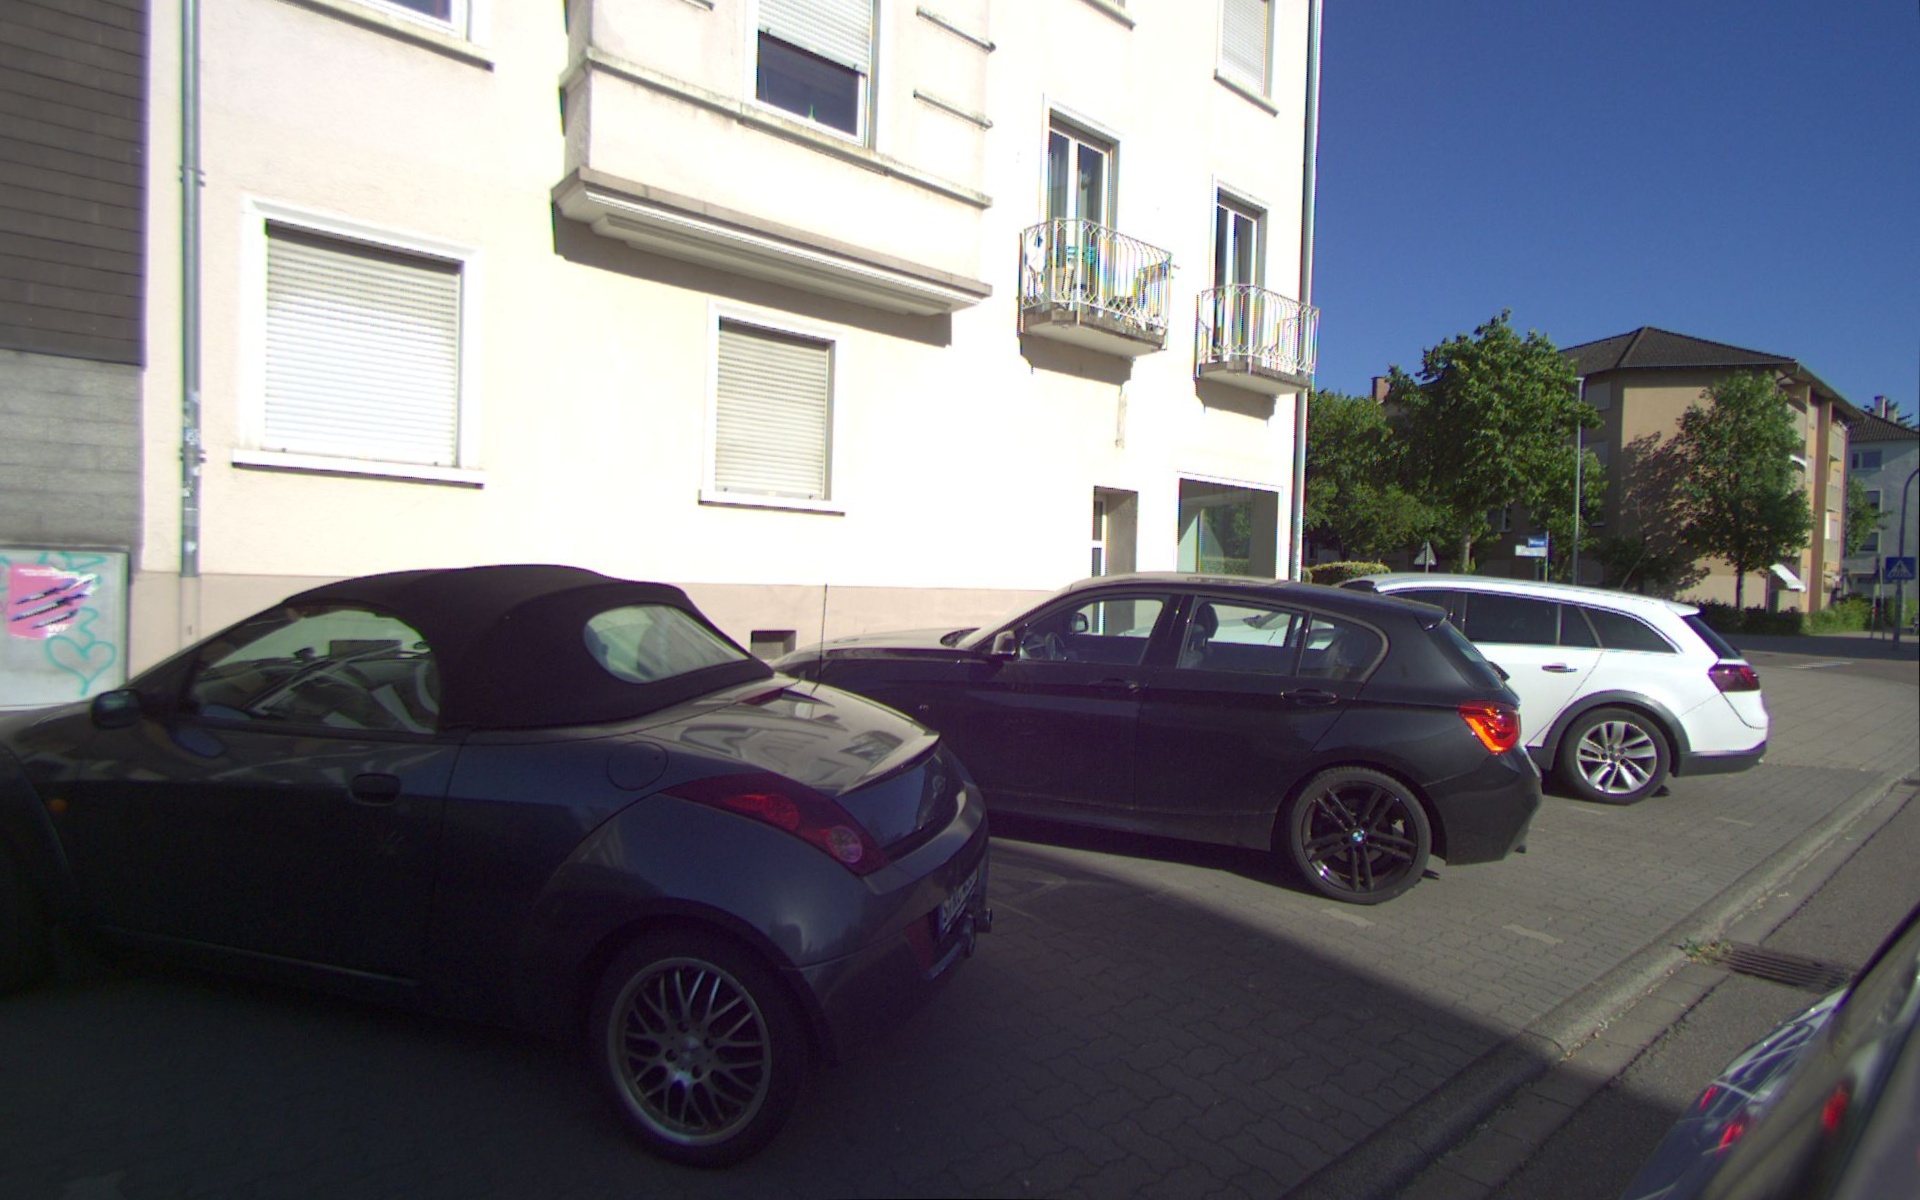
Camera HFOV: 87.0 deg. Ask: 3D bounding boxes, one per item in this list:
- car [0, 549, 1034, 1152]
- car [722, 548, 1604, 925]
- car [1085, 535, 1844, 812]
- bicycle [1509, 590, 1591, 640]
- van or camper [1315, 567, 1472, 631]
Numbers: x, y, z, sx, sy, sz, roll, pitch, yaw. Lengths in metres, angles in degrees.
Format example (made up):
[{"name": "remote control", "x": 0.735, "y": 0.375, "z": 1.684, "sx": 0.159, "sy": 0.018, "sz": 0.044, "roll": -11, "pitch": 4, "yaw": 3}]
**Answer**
[{"name": "car", "x": -1.496, "y": 0.572, "z": 3.509, "sx": 3.342, "sy": 1.405, "sz": 1.536, "roll": 2, "pitch": 1, "yaw": 10}, {"name": "car", "x": 0.942, "y": 0.504, "z": 5.712, "sx": 4.114, "sy": 1.515, "sz": 1.814, "roll": 2, "pitch": 3, "yaw": 16}, {"name": "car", "x": 3.566, "y": 0.416, "z": 8.115, "sx": 4.806, "sy": 1.481, "sz": 1.964, "roll": 5, "pitch": 2, "yaw": 15}, {"name": "bicycle", "x": 15.829, "y": 0.380, "z": 27.209, "sx": 0.518, "sy": 1.208, "sz": 2.035, "roll": 1, "pitch": 2, "yaw": -18}, {"name": "van or camper", "x": 14.439, "y": -0.124, "z": 34.136, "sx": 1.954, "sy": 1.885, "sz": 5.400, "roll": -1, "pitch": 3, "yaw": -14}]
